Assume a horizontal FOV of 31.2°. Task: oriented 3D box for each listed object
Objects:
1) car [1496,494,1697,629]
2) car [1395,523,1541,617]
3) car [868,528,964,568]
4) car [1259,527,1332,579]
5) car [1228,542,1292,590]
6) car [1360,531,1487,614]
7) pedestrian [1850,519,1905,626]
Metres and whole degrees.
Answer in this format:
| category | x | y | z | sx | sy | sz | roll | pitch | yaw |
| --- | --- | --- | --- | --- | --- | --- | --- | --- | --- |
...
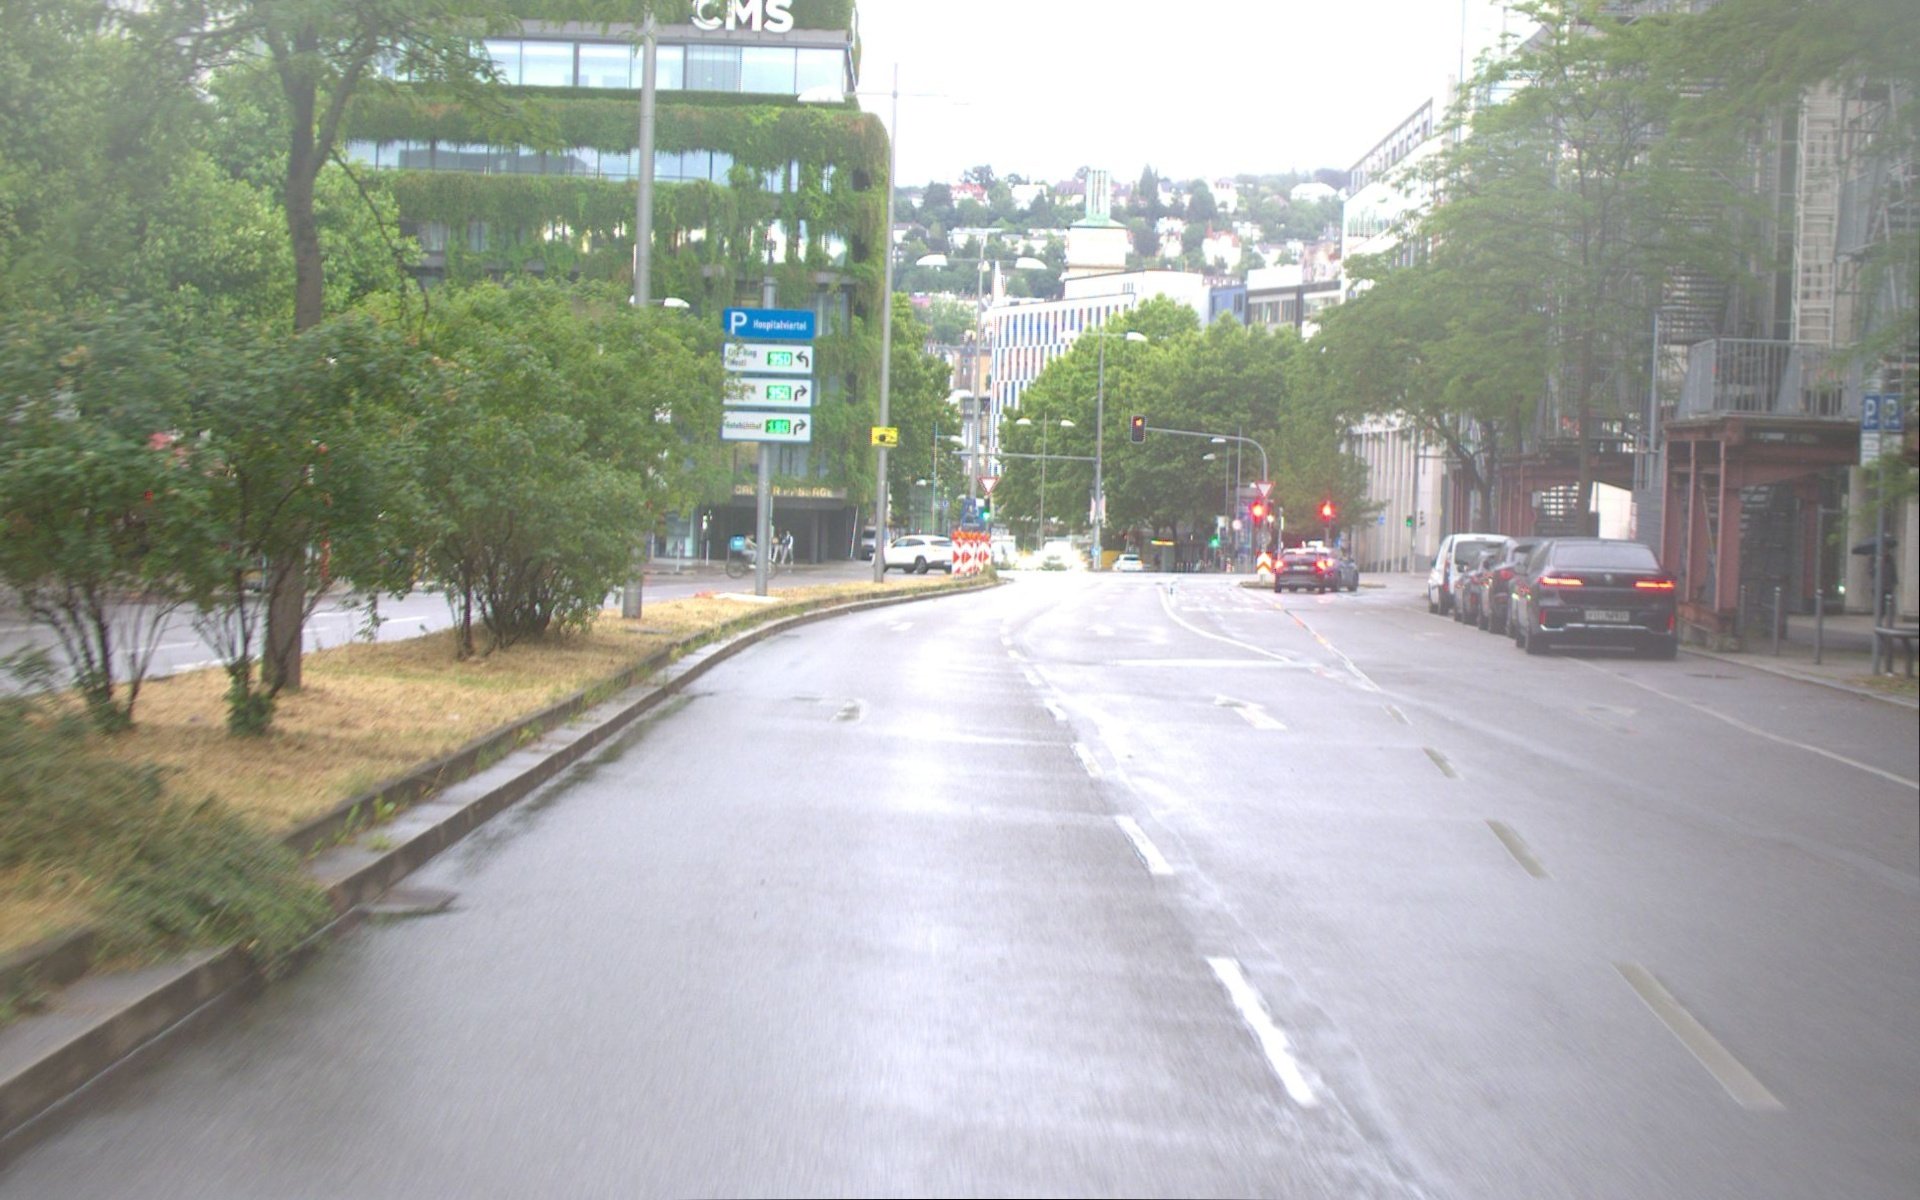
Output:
| category | x | y | z | sx | sy | sz | roll | pitch | yaw |
| --- | --- | --- | --- | --- | --- | --- | --- | --- | --- |
| car | 8.422 | -0.529 | 45.854 | 2.339 | 1.685 | 3.999 | 1 | 1 | 7 |
| car | 8.481 | -0.524 | 57.653 | 1.844 | 1.487 | 4.000 | 1 | 1 | 0 |
| car | -1.906 | -2.247 | 148.336 | 1.829 | 1.634 | 4.299 | 0 | 1 | -39 |
| car | 11.507 | -1.608 | 118.113 | 1.993 | 1.718 | 4.000 | 1 | 0 | -1 |
| car | 11.260 | -1.267 | 129.231 | 1.993 | 1.730 | 4.000 | 1 | 0 | 0 |
| car | 8.662 | -0.537 | 64.529 | 1.844 | 1.487 | 4.000 | 1 | 1 | 0 |
| pedestrian | 16.677 | -0.498 | 62.498 | 0.775 | 1.914 | 0.702 | 1 | 0 | -1 |
